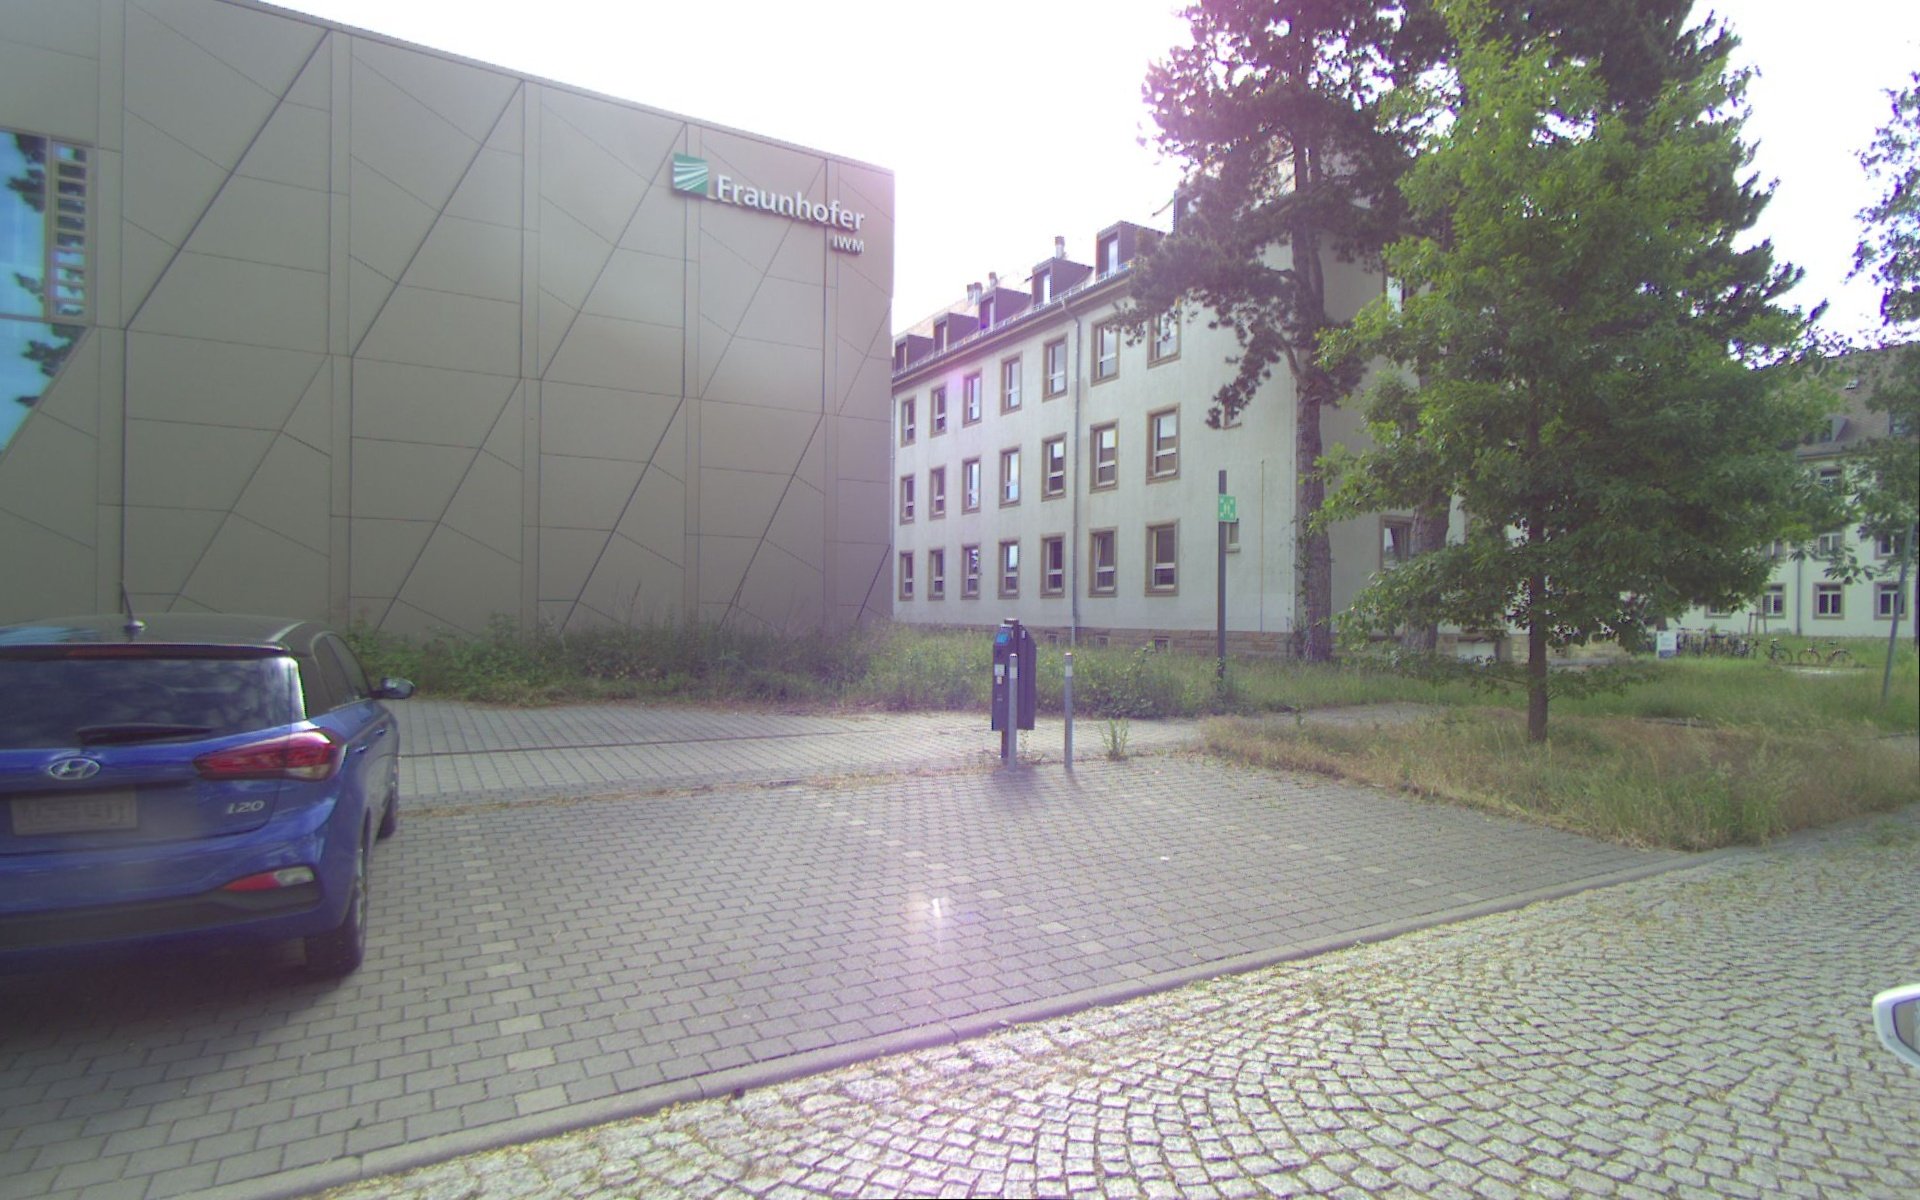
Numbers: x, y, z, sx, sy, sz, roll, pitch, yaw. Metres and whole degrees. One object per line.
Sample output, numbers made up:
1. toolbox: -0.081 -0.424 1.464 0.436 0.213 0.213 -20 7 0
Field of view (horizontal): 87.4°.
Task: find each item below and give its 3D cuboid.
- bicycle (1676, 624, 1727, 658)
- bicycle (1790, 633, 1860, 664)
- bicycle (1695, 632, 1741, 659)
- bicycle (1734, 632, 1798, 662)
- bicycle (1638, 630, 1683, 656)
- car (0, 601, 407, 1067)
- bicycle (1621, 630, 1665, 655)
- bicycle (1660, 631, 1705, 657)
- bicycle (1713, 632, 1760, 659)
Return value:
1. bicycle: 31.707 1.762 42.929 2.679 1.404 0.732 1 -1 -30
2. bicycle: 32.740 1.829 38.029 0.821 1.090 1.849 1 -1 -27
3. bicycle: 31.763 1.900 42.101 2.246 1.090 0.732 1 -1 -30
4. bicycle: 31.795 1.845 39.655 0.729 1.090 1.849 1 -1 -27
5. bicycle: 30.680 1.871 43.998 2.246 1.090 0.732 1 -1 -30
6. car: -3.962 0.801 5.118 1.828 1.498 3.752 1 0 -27
7. bicycle: 30.388 1.875 44.673 2.246 1.090 0.732 1 -1 -30
8. bicycle: 31.412 1.903 43.683 2.246 1.090 0.732 1 -1 -30
9. bicycle: 32.141 1.890 41.581 2.246 1.090 0.732 1 -1 -30
